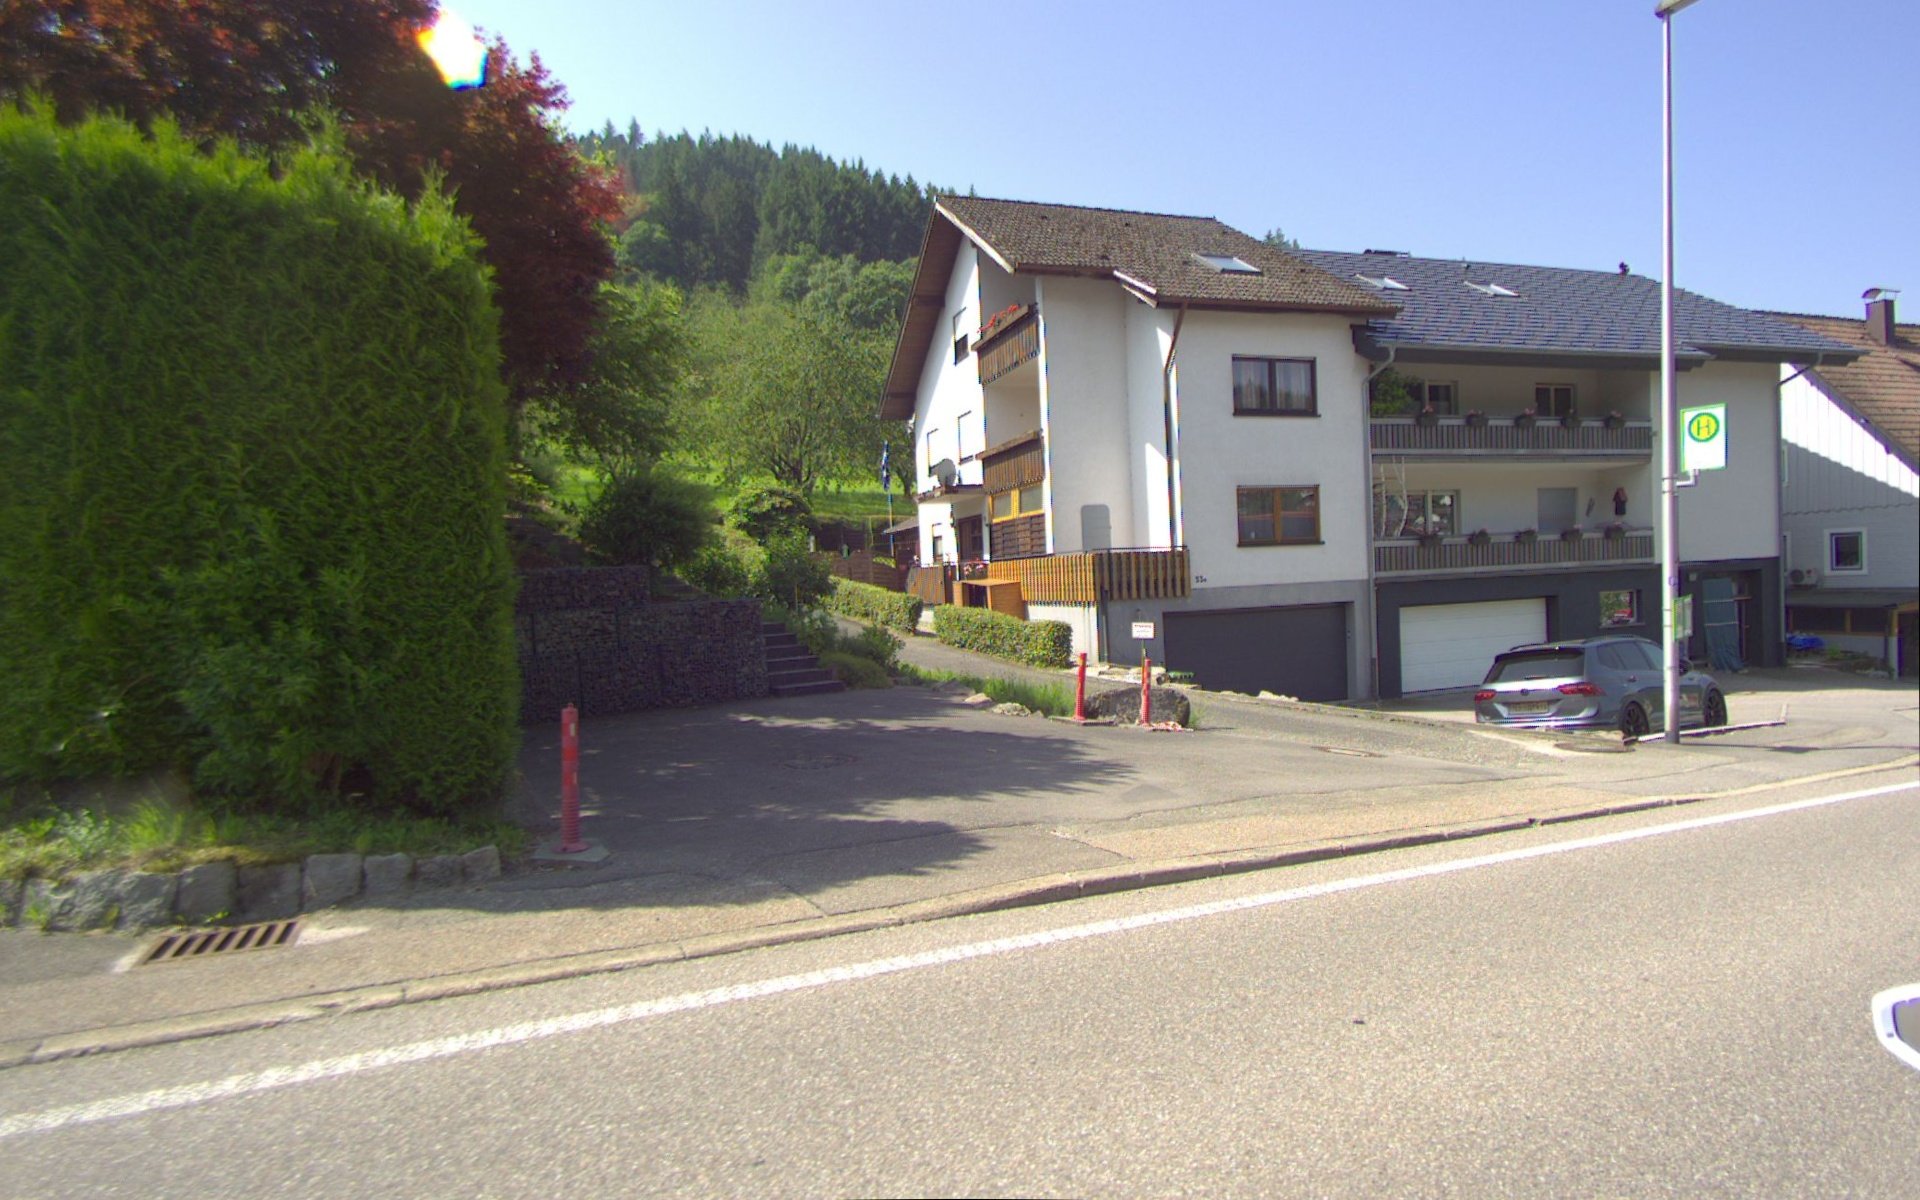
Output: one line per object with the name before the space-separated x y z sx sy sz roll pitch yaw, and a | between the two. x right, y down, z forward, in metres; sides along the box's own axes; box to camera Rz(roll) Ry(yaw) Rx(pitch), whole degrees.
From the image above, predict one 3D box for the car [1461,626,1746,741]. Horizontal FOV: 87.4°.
car | 9.310 1.095 14.407 4.648 1.356 1.771 1 0 -35
